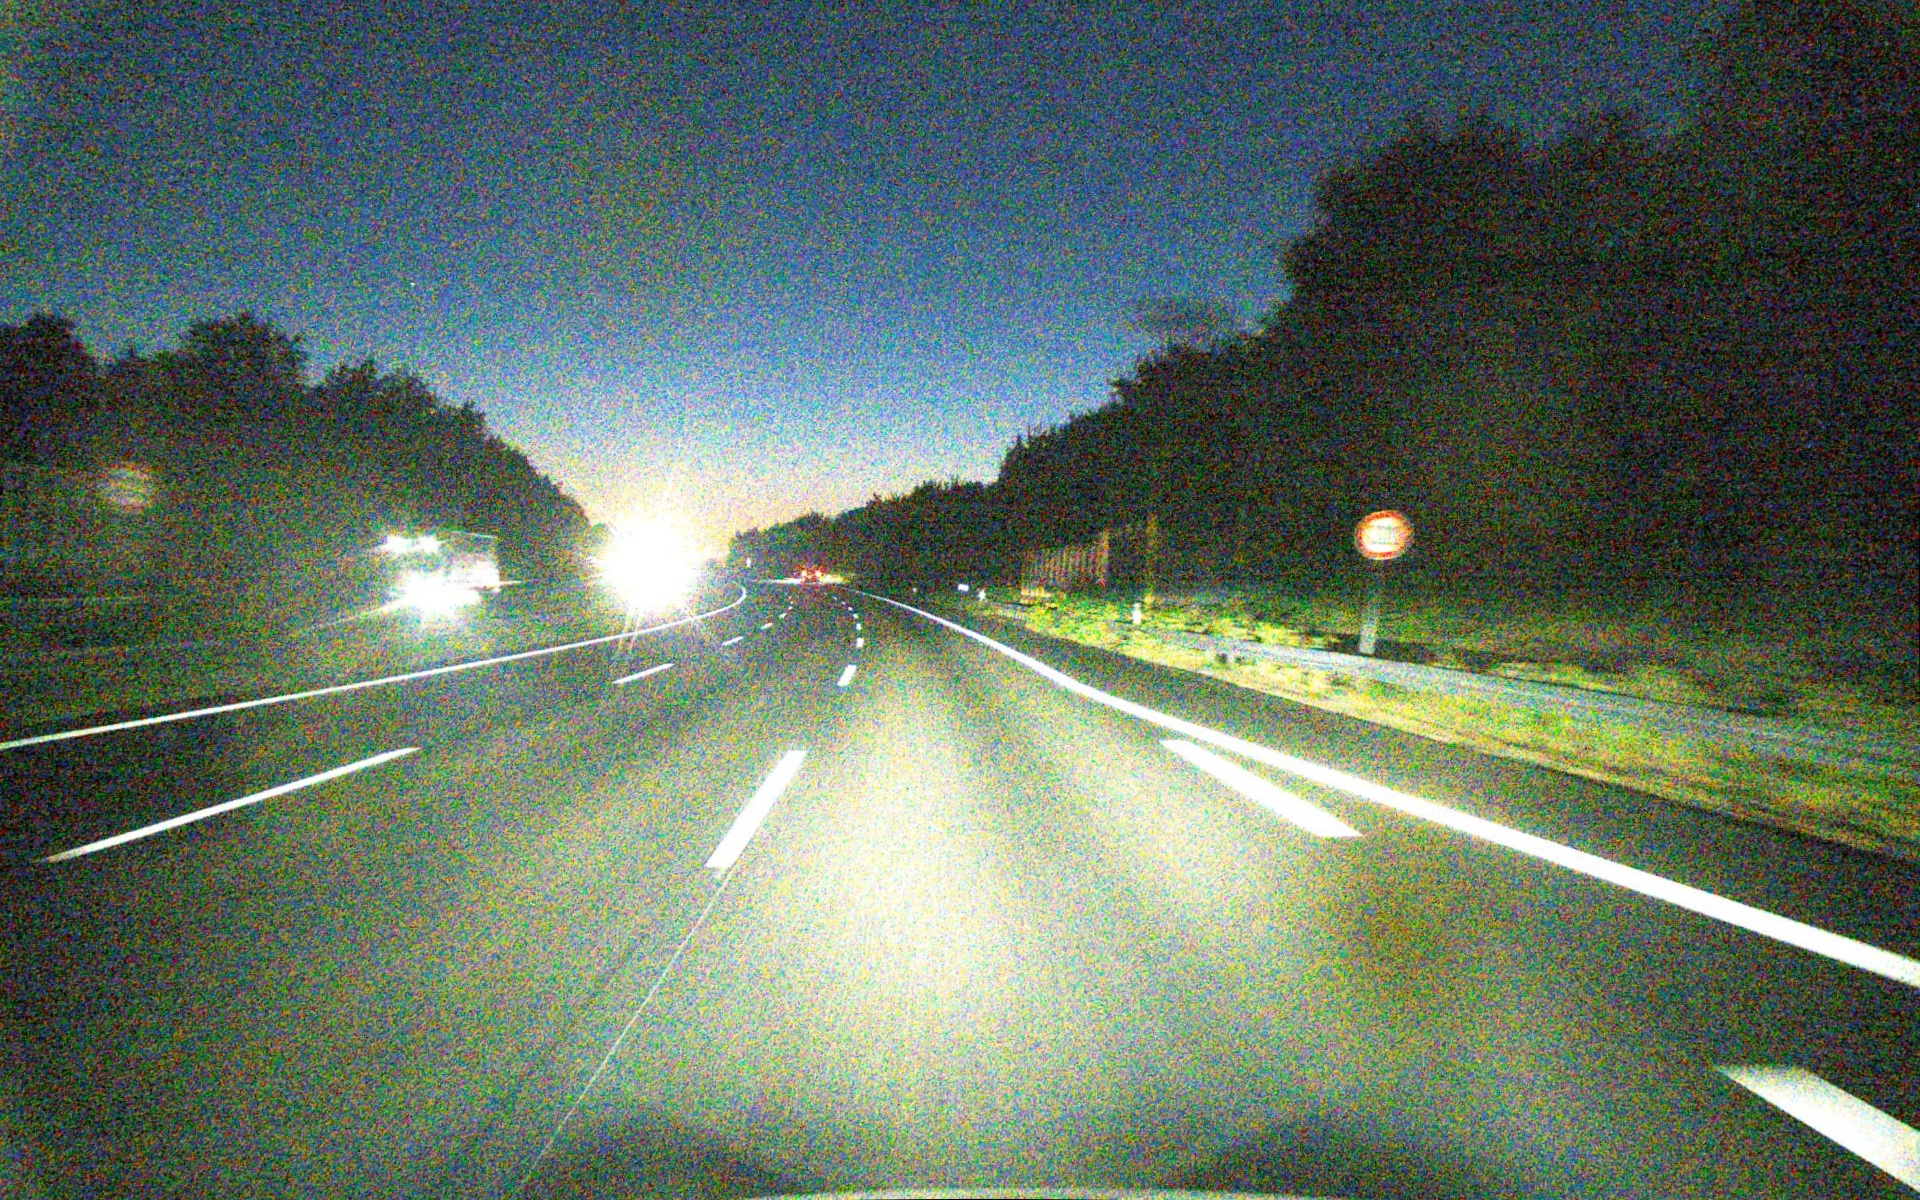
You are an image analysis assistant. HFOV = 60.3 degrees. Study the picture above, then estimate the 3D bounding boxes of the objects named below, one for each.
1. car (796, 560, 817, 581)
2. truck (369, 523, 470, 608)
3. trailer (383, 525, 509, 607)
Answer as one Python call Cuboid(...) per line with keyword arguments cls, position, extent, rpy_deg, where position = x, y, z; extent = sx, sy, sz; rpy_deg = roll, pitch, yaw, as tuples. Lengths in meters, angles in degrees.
Cuboid(cls="car", position=(-19.573, -3.750, 210.624), extent=(2.479, 2.597, 6.044), rpy_deg=(3, 1, -6))
Cuboid(cls="truck", position=(-27.505, -1.733, 84.516), extent=(3.519, 4.171, 5.989), rpy_deg=(0, 1, -4))
Cuboid(cls="trailer", position=(-28.021, -1.816, 91.077), extent=(3.528, 4.161, 14.112), rpy_deg=(0, 1, -4))
